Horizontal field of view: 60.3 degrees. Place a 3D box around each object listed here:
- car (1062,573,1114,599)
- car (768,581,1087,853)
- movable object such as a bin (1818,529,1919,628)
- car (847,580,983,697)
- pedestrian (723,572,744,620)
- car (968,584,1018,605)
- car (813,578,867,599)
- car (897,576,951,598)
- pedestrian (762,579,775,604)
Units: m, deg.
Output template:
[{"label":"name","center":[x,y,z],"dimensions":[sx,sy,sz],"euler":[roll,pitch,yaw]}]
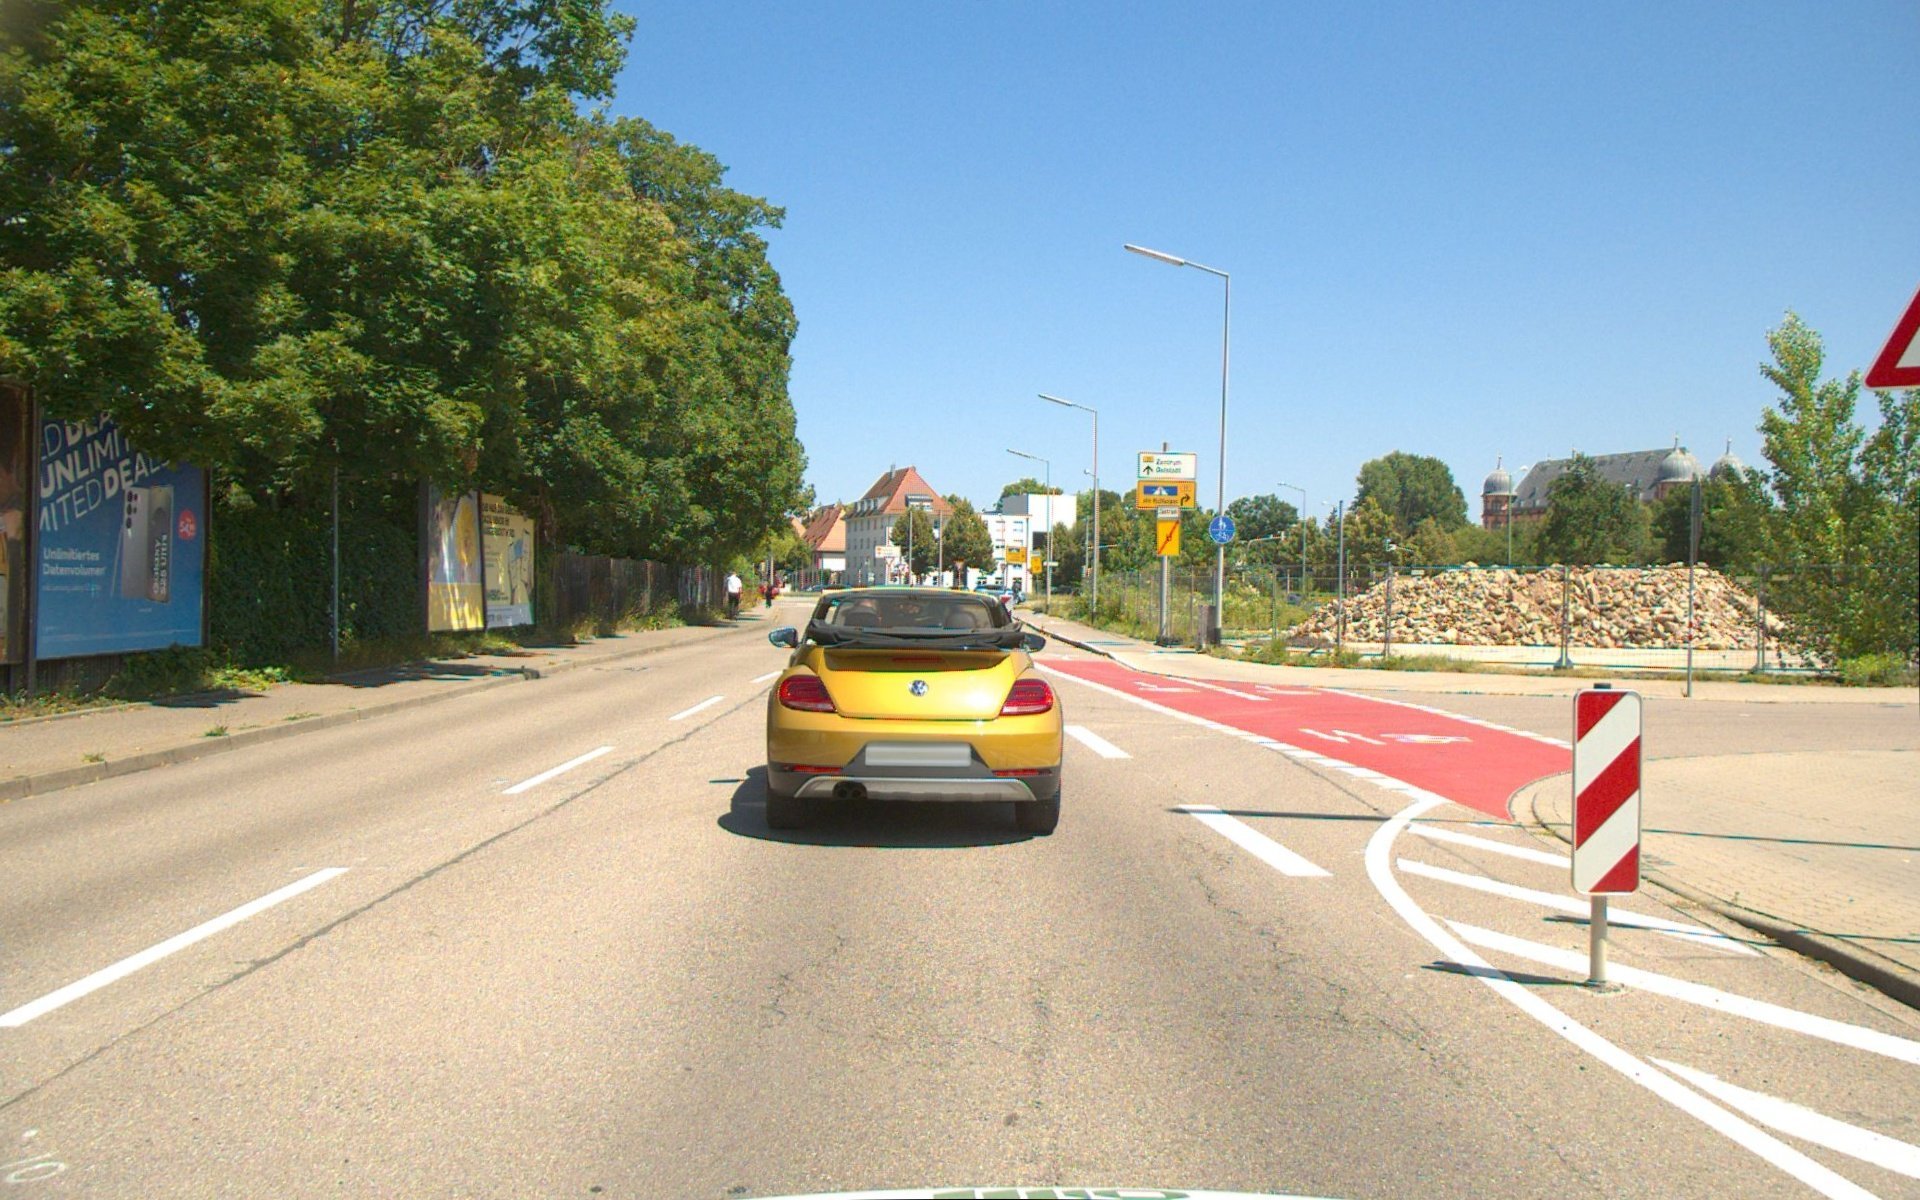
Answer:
[{"label":"car","center":[10.033,-1.091,129.257],"dimensions":[3.902,2.049,2.002],"euler":[0,1,7]},{"label":"car","center":[-0.252,0.618,10.978],"dimensions":[1.754,1.461,3.812],"euler":[0,1,-2]},{"label":"movable object such as a bin","center":[34.287,-0.724,55.898],"dimensions":[4.840,3.317,10.464],"euler":[0,1,-2]},{"label":"car","center":[-0.581,0.458,22.667],"dimensions":[1.691,1.468,4.000],"euler":[0,1,-1]},{"label":"pedestrian","center":[-8.456,-0.148,61.732],"dimensions":[0.708,1.755,0.817],"euler":[0,0,-5]},{"label":"car","center":[2.675,-0.436,134.967],"dimensions":[3.902,1.580,1.994],"euler":[2,1,6]},{"label":"car","center":[-9.629,-0.933,132.993],"dimensions":[3.977,1.706,1.786],"euler":[0,1,12]},{"label":"car","center":[-2.758,-1.018,127.996],"dimensions":[3.902,1.641,1.792],"euler":[0,1,9]},{"label":"pedestrian","center":[-11.589,-0.515,100.102],"dimensions":[0.708,1.479,0.817],"euler":[0,0,-5]}]
